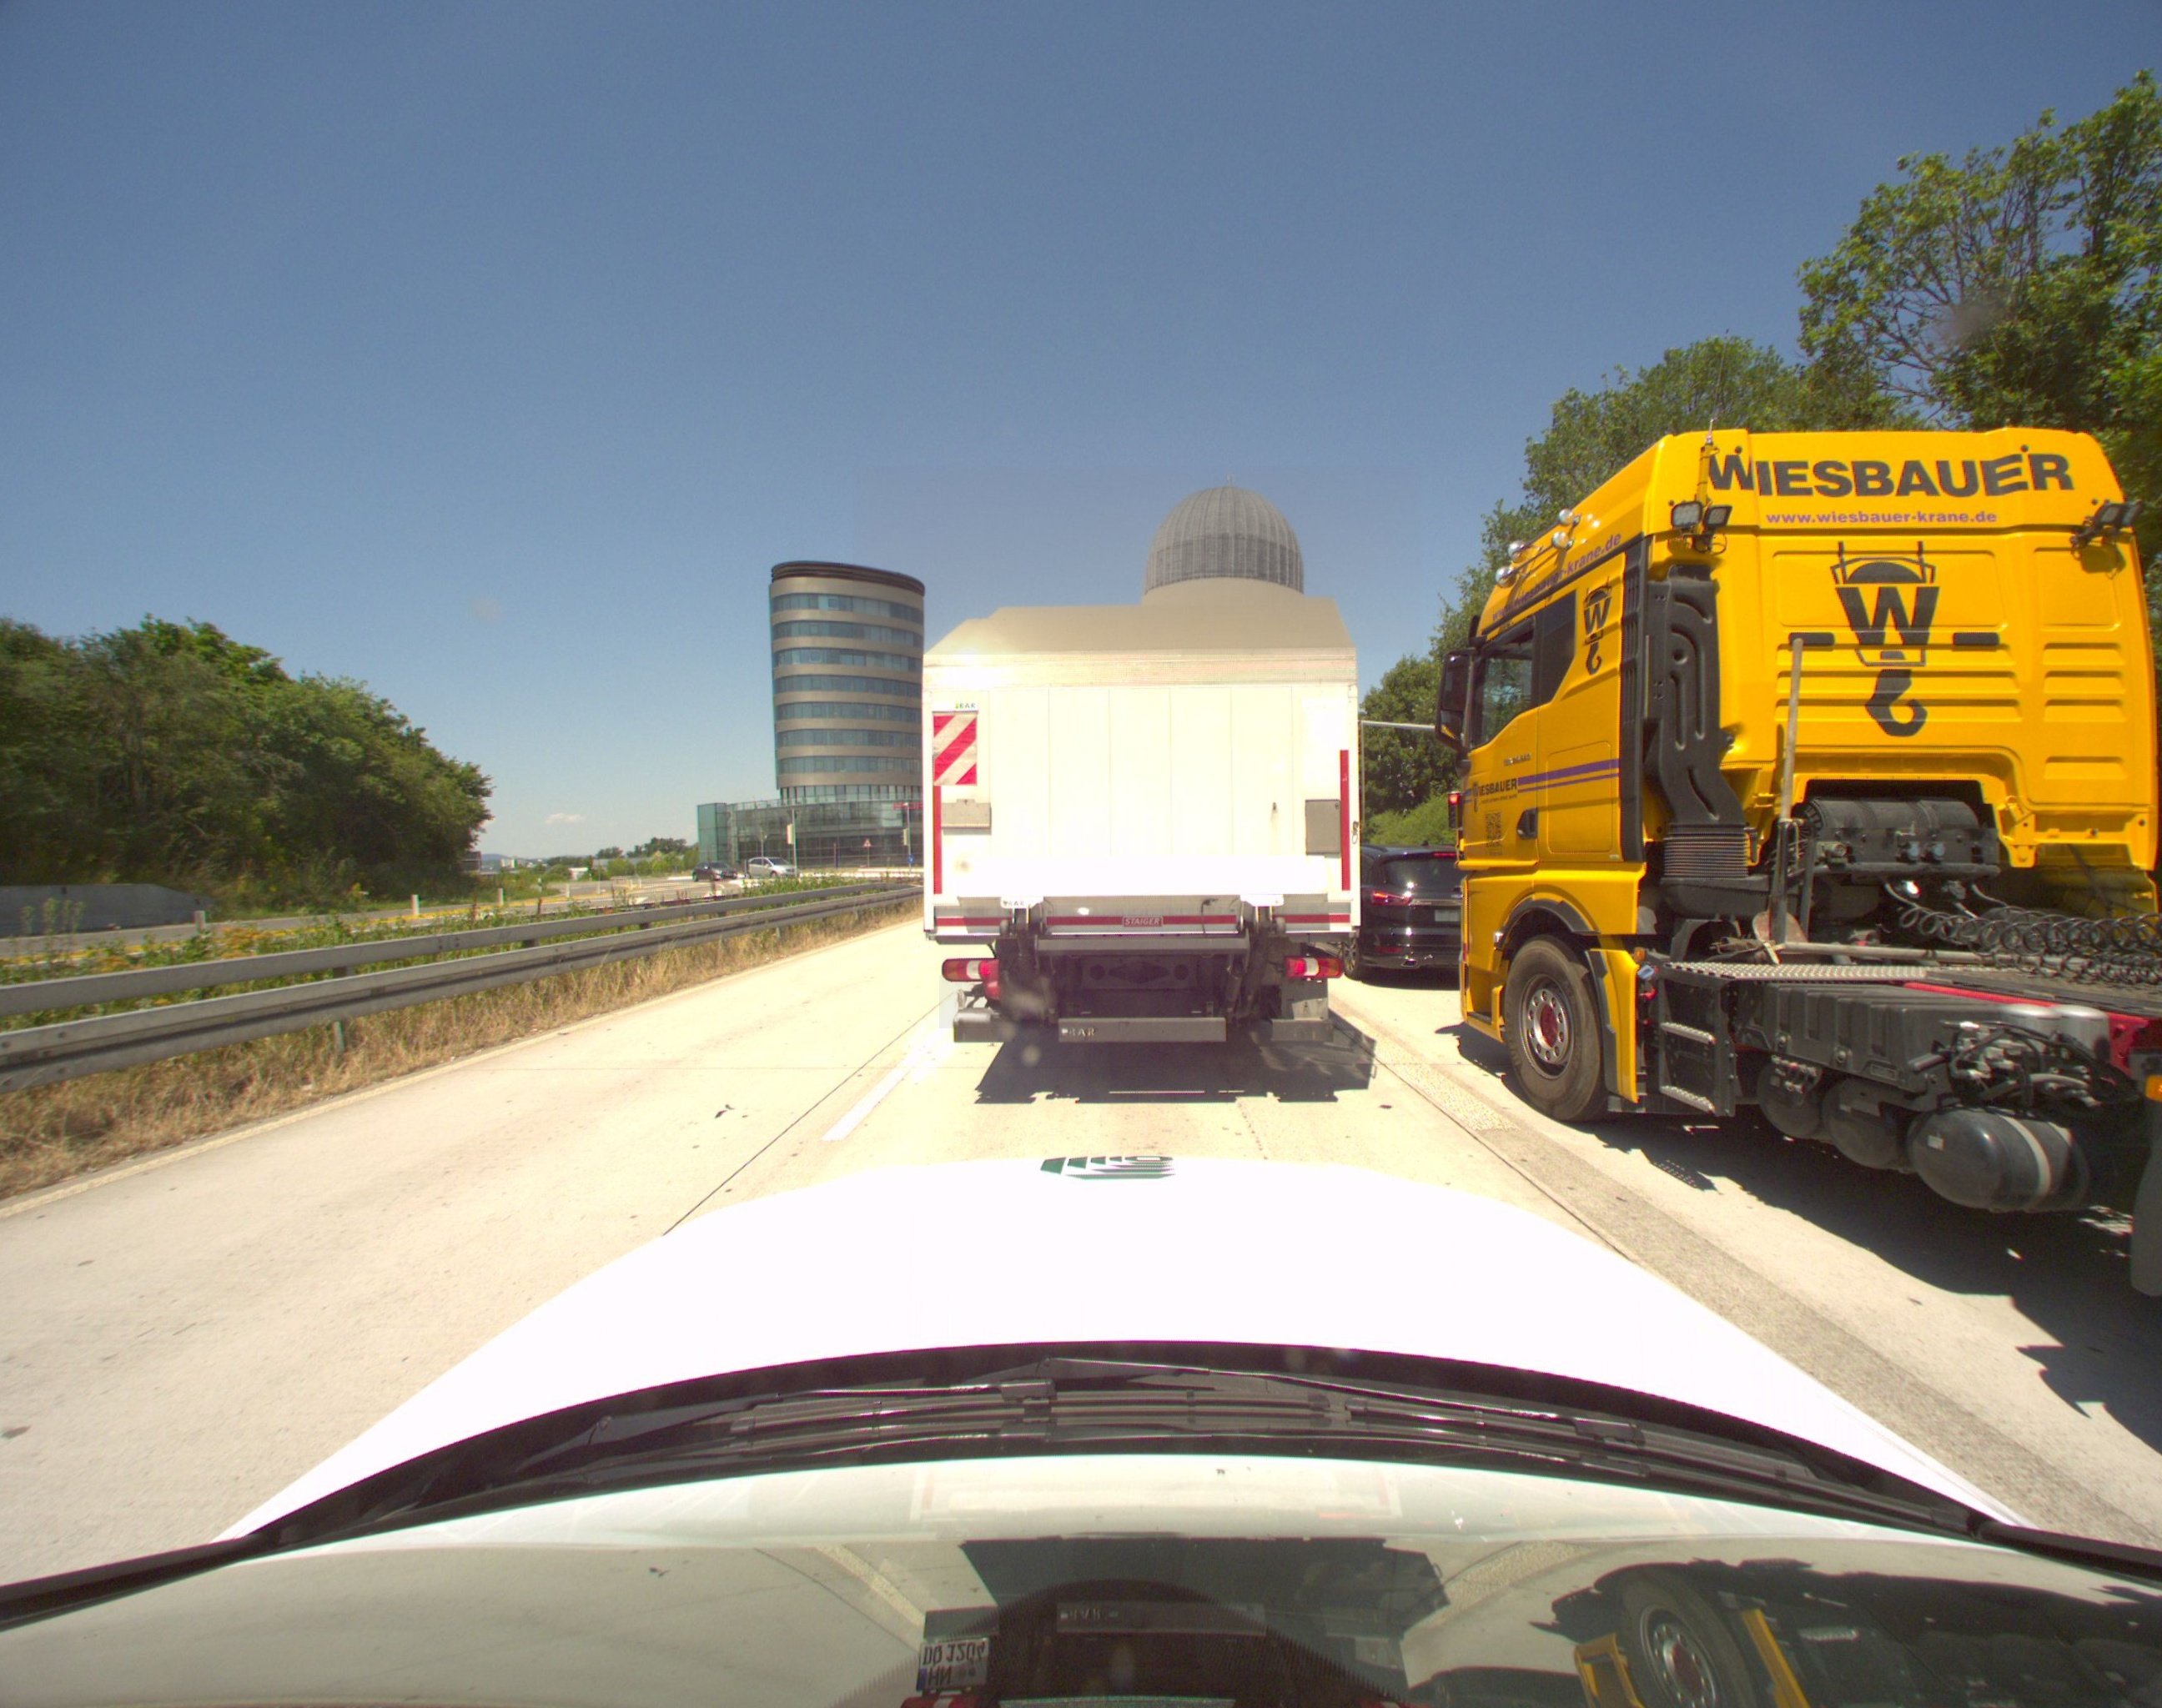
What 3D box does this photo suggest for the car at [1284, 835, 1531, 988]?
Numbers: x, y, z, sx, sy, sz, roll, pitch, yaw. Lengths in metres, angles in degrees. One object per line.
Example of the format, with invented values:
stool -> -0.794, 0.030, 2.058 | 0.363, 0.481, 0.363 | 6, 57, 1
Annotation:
car -> 4.105, 0.640, 11.129 | 1.776, 1.639, 4.652 | 0, -1, 4

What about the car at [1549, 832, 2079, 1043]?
car -> 7.727, 0.733, 9.441 | 1.763, 1.807, 4.789 | 0, -1, -2

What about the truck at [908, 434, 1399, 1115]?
truck -> 0.550, -0.418, 9.320 | 2.759, 3.860, 9.374 | 0, -1, 2

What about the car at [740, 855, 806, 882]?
car -> -20.669, 0.985, 54.597 | 4.274, 1.595, 1.788 | -3, -2, 29

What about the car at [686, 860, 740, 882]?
car -> -26.737, 1.234, 59.121 | 4.273, 1.456, 1.708 | -3, -2, 37

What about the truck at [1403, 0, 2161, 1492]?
truck -> 3.927, -0.458, 2.465 | 3.003, 3.772, 7.470 | 0, 0, 0

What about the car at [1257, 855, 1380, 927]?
car -> 5.148, 0.743, 18.278 | 1.759, 1.410, 4.615 | 0, -1, 5
